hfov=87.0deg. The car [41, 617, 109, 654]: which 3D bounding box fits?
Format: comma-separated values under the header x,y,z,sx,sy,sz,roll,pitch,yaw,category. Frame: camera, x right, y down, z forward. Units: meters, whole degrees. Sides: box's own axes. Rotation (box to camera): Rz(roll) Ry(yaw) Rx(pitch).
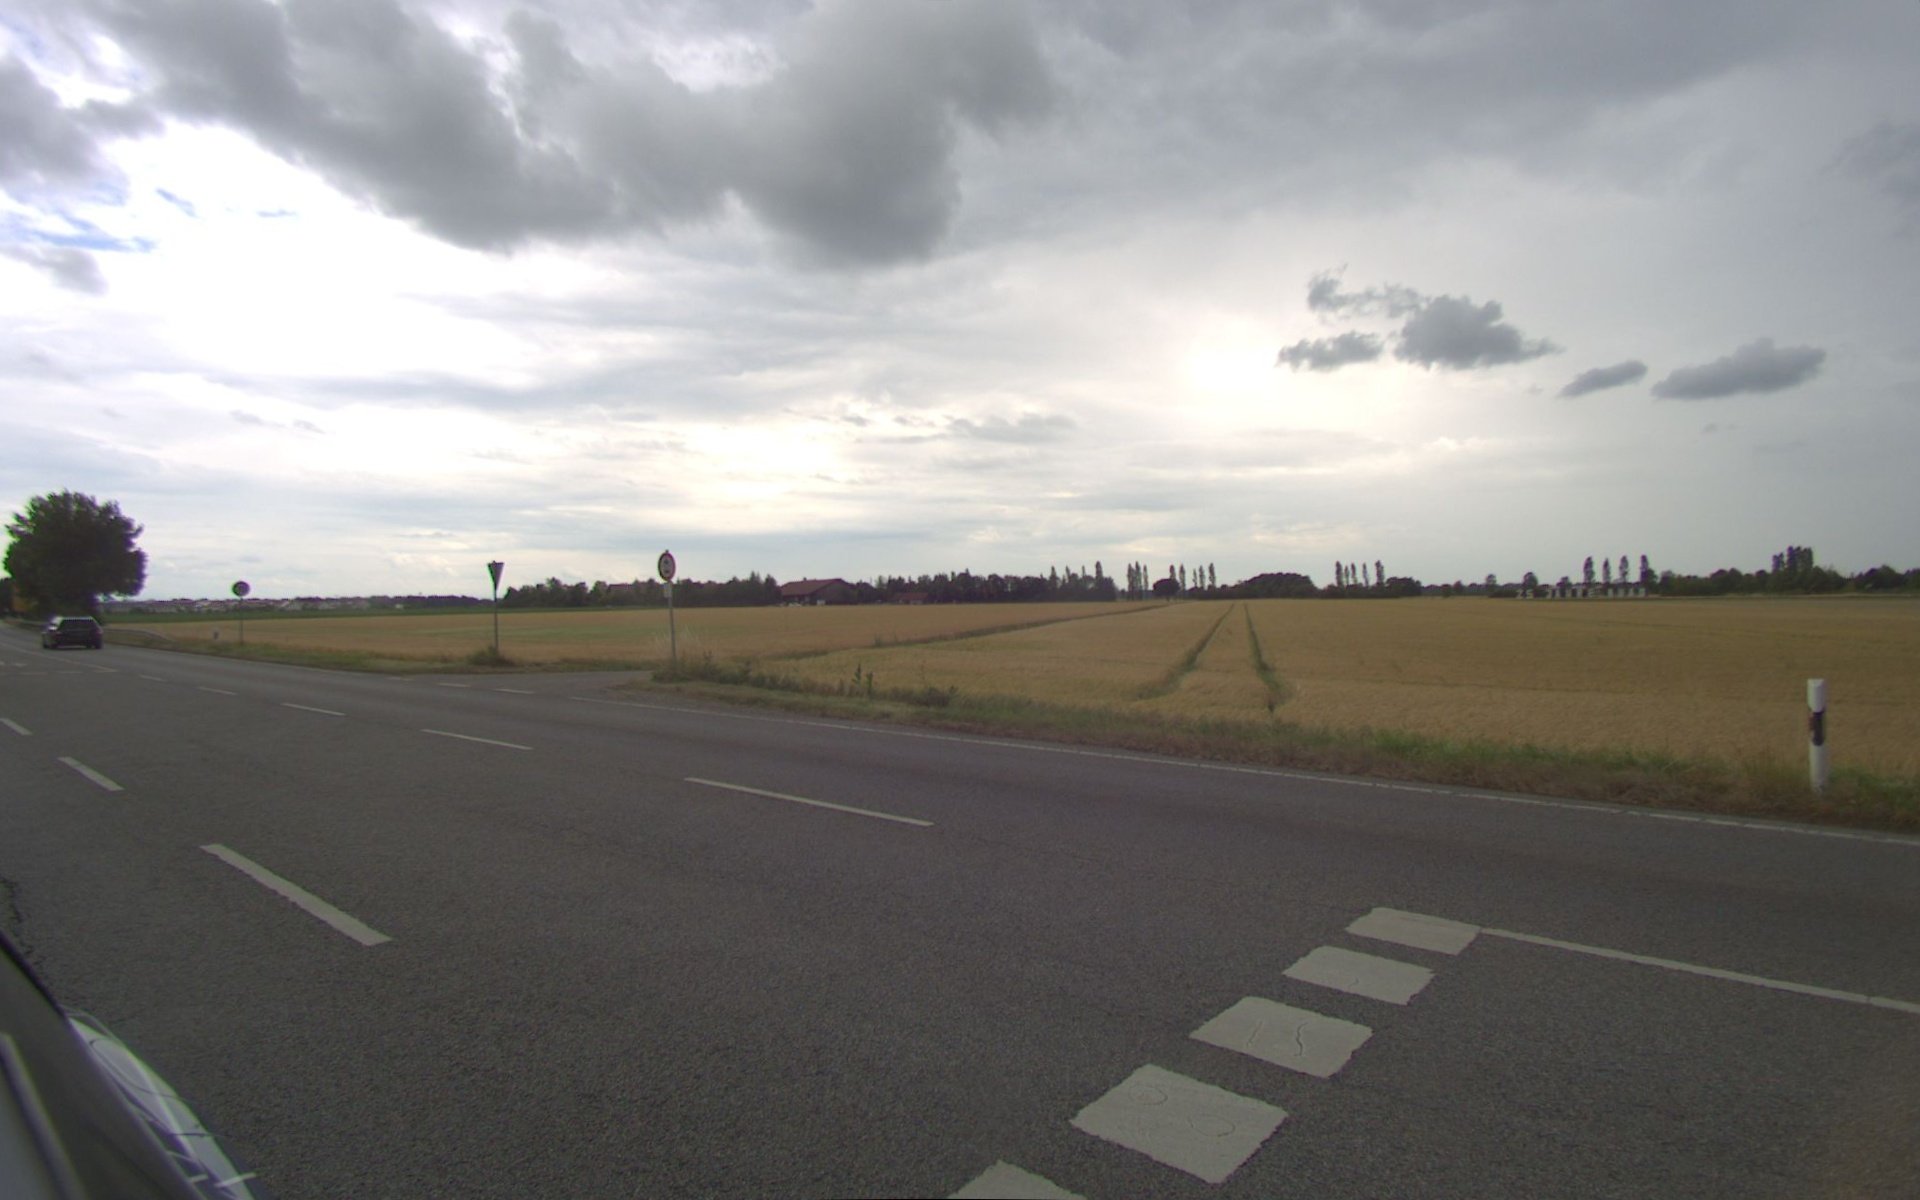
x,y,z,sx,sy,sz,roll,pitch,yaw,category
-39.044,1.551,44.615,4.002,1.521,1.971,-1,-3,45,car
